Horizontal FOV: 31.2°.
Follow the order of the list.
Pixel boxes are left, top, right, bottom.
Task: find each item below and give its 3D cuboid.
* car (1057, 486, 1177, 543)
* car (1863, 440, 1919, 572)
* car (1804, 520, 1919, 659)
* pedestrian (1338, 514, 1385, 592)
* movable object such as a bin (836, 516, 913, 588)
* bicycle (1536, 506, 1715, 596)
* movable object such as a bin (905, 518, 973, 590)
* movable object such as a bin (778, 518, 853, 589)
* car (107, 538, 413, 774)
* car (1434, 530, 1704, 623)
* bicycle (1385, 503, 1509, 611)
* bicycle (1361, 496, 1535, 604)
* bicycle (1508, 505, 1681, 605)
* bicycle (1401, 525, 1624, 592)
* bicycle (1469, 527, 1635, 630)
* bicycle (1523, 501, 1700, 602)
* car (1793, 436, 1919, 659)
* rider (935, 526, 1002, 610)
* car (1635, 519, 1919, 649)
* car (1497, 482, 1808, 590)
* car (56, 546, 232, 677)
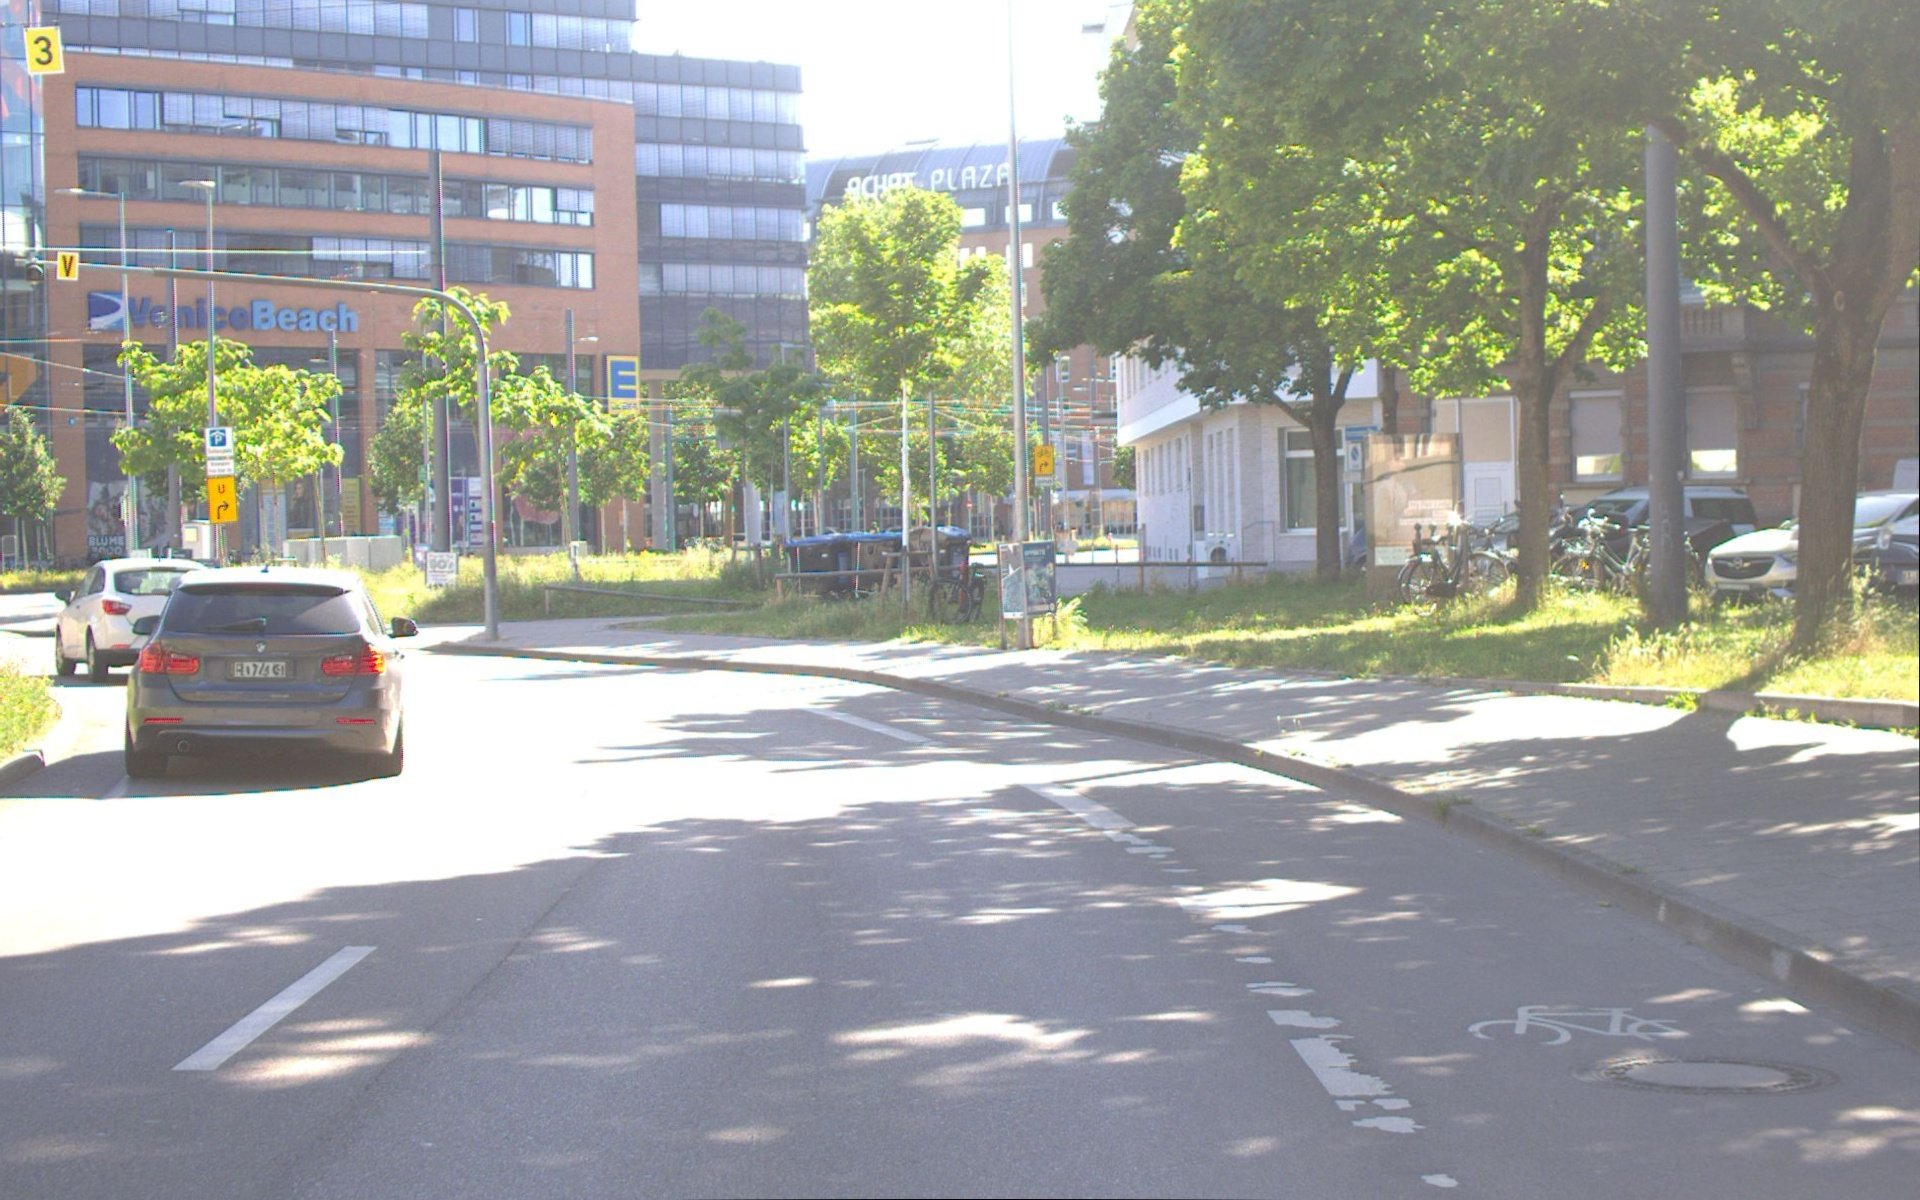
[{"bbox_3d":[5.658,-3.061,123.805,3.990,2.007,1.999,1,0,15],"label":"car"},{"bbox_3d":[18.210,-1.724,62.180,2.349,2.349,5.188,-1,1,0],"label":"car"},{"bbox_3d":[10.712,-0.117,35.550,3.603,1.375,1.925,0,1,-34],"label":"car"},{"bbox_3d":[8.133,-0.950,69.573,0.642,1.571,0.770,0,0,37],"label":"pedestrian"},{"bbox_3d":[-1.687,-0.944,67.870,1.108,1.393,1.320,1,1,19],"label":"movable object such as a bin"},{"bbox_3d":[8.751,-0.637,45.220,2.162,1.154,0.822,0,0,-4],"label":"bicycle"},{"bbox_3d":[-0.412,-0.908,67.851,1.030,1.393,1.089,1,1,19],"label":"movable object such as a bin"},{"bbox_3d":[-2.851,-0.924,67.901,1.069,1.393,1.302,1,1,19],"label":"movable object such as a bin"},{"bbox_3d":[-4.784,0.390,24.003,1.733,1.418,4.468,3,-1,-8],"label":"car"},{"bbox_3d":[9.627,-0.375,54.402,3.830,1.436,1.760,0,1,-20],"label":"car"},{"bbox_3d":[5.962,-0.530,42.056,0.769,1.285,1.594,0,1,39],"label":"bicycle"},{"bbox_3d":[6.292,-0.639,44.364,2.093,1.360,0.787,0,0,-6],"label":"bicycle"},{"bbox_3d":[7.871,-0.555,42.694,1.957,1.188,0.841,-1,1,-1],"label":"bicycle"},{"bbox_3d":[9.811,-0.746,61.533,2.674,1.123,5.223,0,1,-6],"label":"bicycle"},{"bbox_3d":[8.164,-0.294,47.439,2.092,1.394,0.787,0,0,-11],"label":"bicycle"},{"bbox_3d":[7.893,-0.584,41.720,1.944,1.176,0.900,-1,0,-1],"label":"bicycle"},{"bbox_3d":[10.402,-0.542,32.596,4.865,2.006,2.100,-2,1,-34],"label":"car"},{"bbox_3d":[0.130,-0.466,49.075,0.502,1.172,1.675,0,2,17],"label":"rider"},{"bbox_3d":[9.993,-0.188,38.445,4.737,1.375,2.046,0,1,-34],"label":"car"},{"bbox_3d":[10.430,-0.943,51.724,4.456,1.560,1.938,0,1,-32],"label":"car"},{"bbox_3d":[-9.721,0.144,40.794,1.631,1.418,3.783,3,-1,-18],"label":"car"}]
